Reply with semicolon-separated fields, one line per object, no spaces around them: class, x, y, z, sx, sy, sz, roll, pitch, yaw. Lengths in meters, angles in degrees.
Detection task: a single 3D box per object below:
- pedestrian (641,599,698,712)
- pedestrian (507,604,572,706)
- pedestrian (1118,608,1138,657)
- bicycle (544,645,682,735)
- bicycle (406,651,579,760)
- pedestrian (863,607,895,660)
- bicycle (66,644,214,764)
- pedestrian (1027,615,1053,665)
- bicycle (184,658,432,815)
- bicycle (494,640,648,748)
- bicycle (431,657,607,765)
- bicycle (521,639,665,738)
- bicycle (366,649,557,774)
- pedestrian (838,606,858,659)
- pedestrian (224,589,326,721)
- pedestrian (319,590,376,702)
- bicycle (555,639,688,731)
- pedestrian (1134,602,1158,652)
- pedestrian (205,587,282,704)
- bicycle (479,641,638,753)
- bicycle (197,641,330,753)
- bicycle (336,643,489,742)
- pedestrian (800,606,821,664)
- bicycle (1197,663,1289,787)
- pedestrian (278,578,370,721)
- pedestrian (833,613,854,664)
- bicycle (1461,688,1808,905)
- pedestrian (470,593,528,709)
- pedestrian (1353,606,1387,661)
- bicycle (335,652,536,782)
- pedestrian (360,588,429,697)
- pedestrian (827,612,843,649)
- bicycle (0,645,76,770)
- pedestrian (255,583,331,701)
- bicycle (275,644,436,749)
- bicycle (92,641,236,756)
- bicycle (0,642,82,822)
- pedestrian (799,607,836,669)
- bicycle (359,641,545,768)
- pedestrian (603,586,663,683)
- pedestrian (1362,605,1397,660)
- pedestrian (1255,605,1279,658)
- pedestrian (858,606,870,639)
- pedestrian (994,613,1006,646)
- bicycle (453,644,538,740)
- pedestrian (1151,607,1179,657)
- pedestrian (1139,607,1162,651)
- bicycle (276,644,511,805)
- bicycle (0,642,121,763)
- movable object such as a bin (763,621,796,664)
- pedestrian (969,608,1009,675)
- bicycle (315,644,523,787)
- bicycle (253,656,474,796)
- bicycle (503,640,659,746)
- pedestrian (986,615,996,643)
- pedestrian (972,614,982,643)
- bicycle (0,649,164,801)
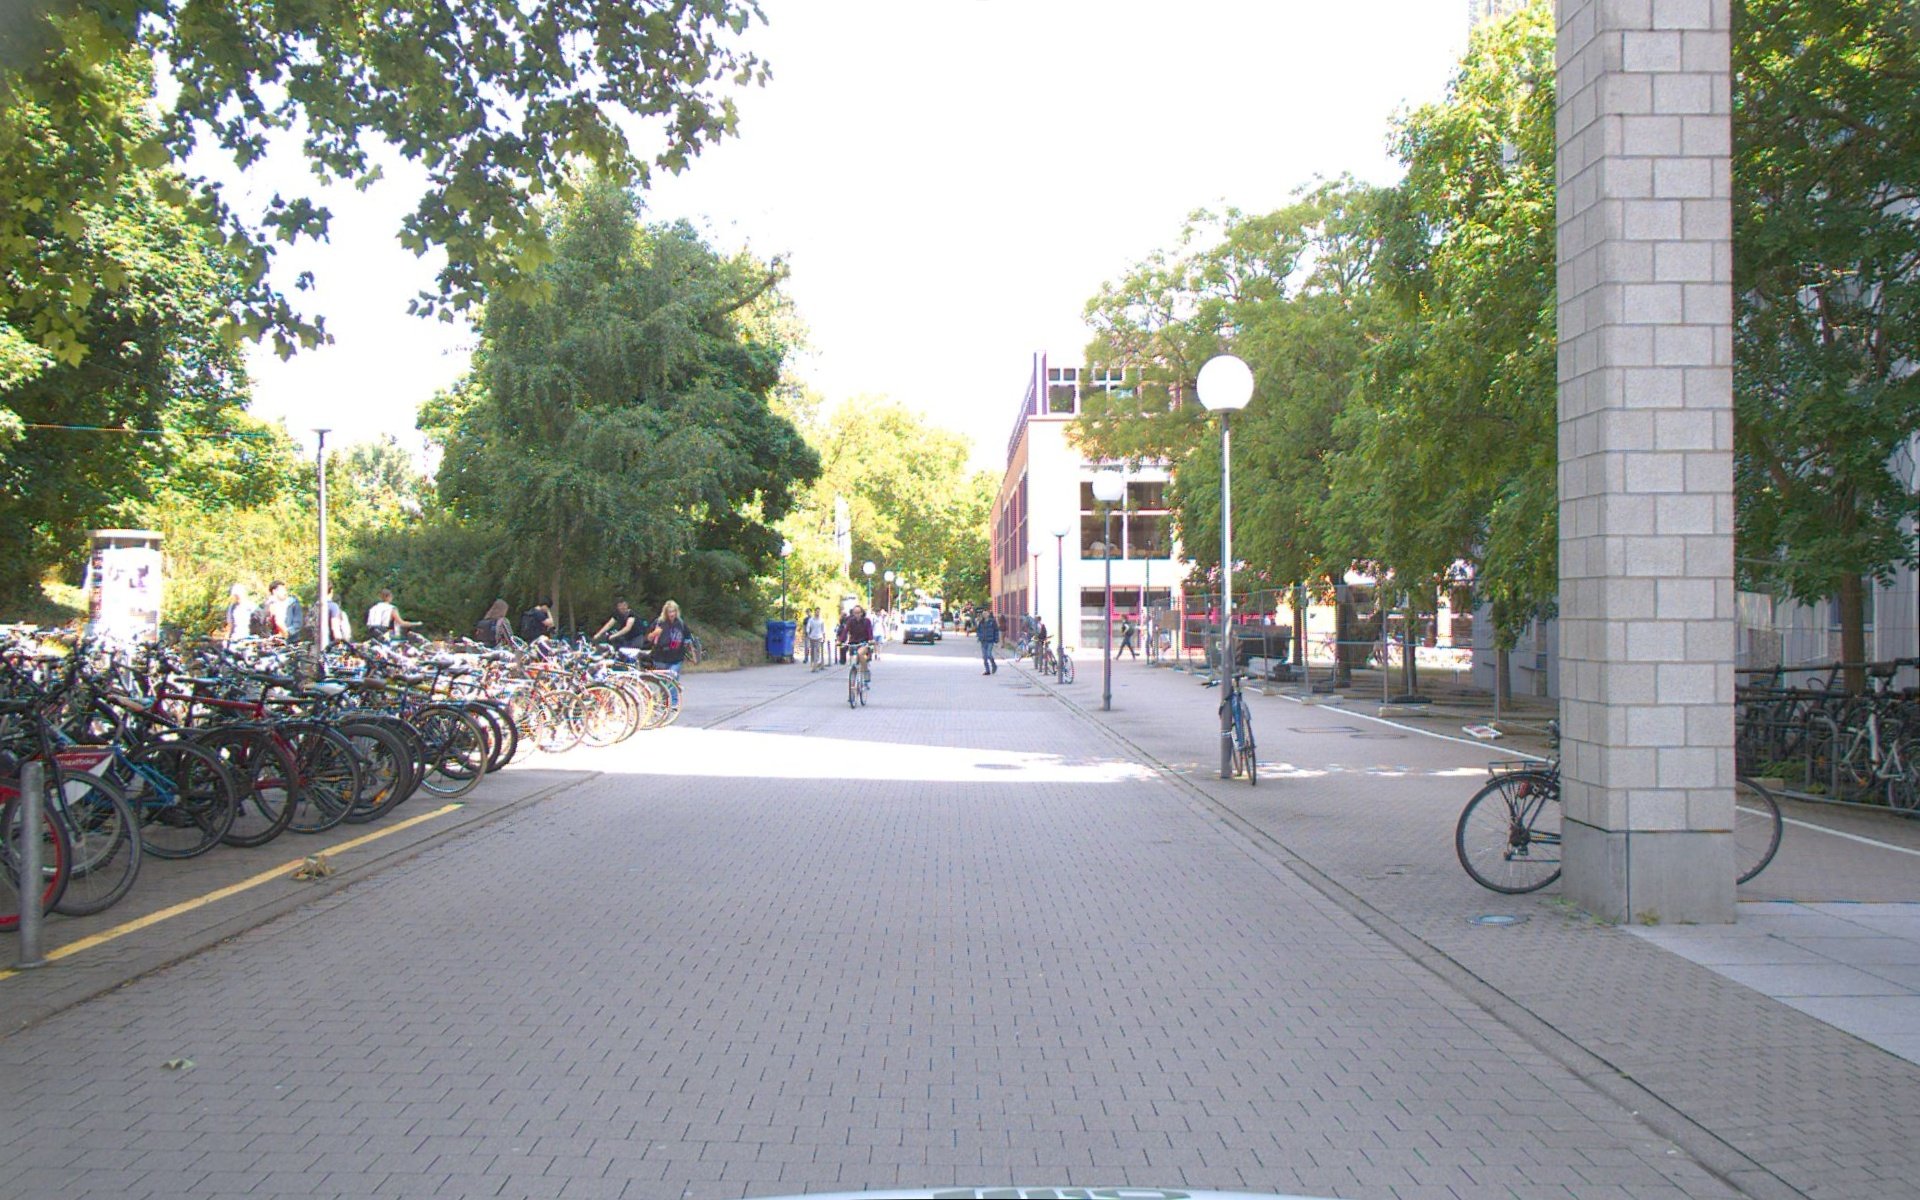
pedestrian;-4.532;0.845;25.781;0.755;1.709;0.903;0;0;-17
pedestrian;-7.403;0.960;29.121;0.670;1.754;0.904;1;-1;22
pedestrian;6.000;1.166;59.052;0.682;1.702;0.588;-1;-2;7
bicycle;-4.409;1.142;21.078;1.662;1.110;0.473;1;-1;-7
bicycle;-4.876;1.081;17.311;1.680;1.080;0.468;1;-1;-36
pedestrian;-2.945;1.237;60.465;0.710;1.914;1.081;0;-2;28
bicycle;-8.093;1.002;16.305;1.663;1.102;0.473;0;-1;31
pedestrian;2.729;1.372;56.489;0.834;1.680;0.588;0;-1;7
bicycle;-4.878;1.010;12.453;1.664;1.127;0.473;1;-1;-12
bicycle;-4.395;1.059;18.756;1.665;1.189;0.472;1;-1;-14
bicycle;-4.507;1.115;16.964;1.680;1.036;0.468;1;-1;-36
bicycle;-4.491;1.079;20.317;1.662;1.189;0.473;1;-1;-7
bicycle;-4.721;1.038;15.697;1.674;1.127;0.470;1;-1;-28
pedestrian;-4.076;1.182;60.180;0.668;1.876;0.783;1;-1;-1
pedestrian;-9.339;0.728;22.569;0.704;1.754;1.062;0;0;32
pedestrian;-9.851;0.723;26.581;0.679;1.754;0.722;-1;0;-37
bicycle;-4.390;1.101;21.548;1.663;1.179;0.473;1;-1;-10
pedestrian;7.097;1.033;63.237;0.809;1.876;0.684;1;-1;-3
pedestrian;-11.482;0.725;26.528;0.751;1.835;0.984;0;0;2
bicycle;-4.417;1.056;18.213;1.667;1.189;0.472;1;-1;-18
bicycle;-7.379;1.002;17.502;1.665;1.102;0.472;0;-1;35
bicycle;-6.371;1.063;19.254;1.658;1.102;0.474;0;-1;12
pedestrian;-5.017;1.181;55.396;0.669;1.906;1.120;1;-1;-5
bicycle;2.698;1.165;15.925;0.526;1.057;1.858;-1;-1;-1
pedestrian;-8.511;0.641;22.152;0.672;1.867;0.938;0;0;33
pedestrian;-3.811;1.241;53.909;0.558;1.639;0.916;1;-1;-11
bicycle;3.597;1.030;8.849;1.705;1.057;0.449;-1;1;-6
pedestrian;-7.095;0.776;25.498;0.670;1.754;0.731;1;-1;-3
pedestrian;13.504;1.107;54.424;0.884;1.759;0.684;0;-3;-5
bicycle;-4.713;1.044;14.966;1.664;1.127;0.581;1;-1;-12
pedestrian;-9.289;0.682;27.168;0.926;1.754;0.670;-1;0;-33
pedestrian;-5.589;1.353;73.798;0.669;1.649;0.977;1;-1;-5
bicycle;-9.068;0.996;15.714;1.665;1.102;0.472;0;-1;35
pedestrian;-10.673;0.668;26.493;0.815;1.847;0.883;0;0;2
bicycle;-6.642;1.045;18.177;1.658;1.102;0.474;0;-1;13
bicycle;-8.150;0.981;16.916;1.663;1.102;0.473;0;-1;31
bicycle;-7.190;0.917;11.657;1.664;1.241;0.501;1;-1;-12
pedestrian;-4.377;1.165;50.782;0.773;1.877;1.109;1;-1;-25
bicycle;-4.934;0.994;16.107;1.674;1.178;0.470;1;-1;-28
pedestrian;-6.401;0.669;32.421;0.601;1.867;1.047;0;-1;33
pedestrian;13.622;1.052;53.732;0.884;1.759;0.684;0;-3;-5
pedestrian;10.708;1.093;57.665;0.750;1.826;0.588;-1;-2;7
pedestrian;-5.463;1.267;94.221;0.668;1.876;0.783;1;-1;-1
pedestrian;2.046;1.514;85.456;0.574;1.702;0.699;-1;-2;1
bicycle;-5.701;1.104;20.380;0.496;1.102;1.700;0;-1;3
pedestrian;7.372;1.149;59.462;0.883;1.759;0.685;-1;-3;17
pedestrian;7.211;1.115;62.542;0.765;1.649;0.684;1;-1;-3
bicycle;-4.446;0.971;13.060;1.663;1.219;0.535;1;-1;-9
bicycle;-8.873;0.975;16.159;1.665;1.102;0.472;0;-1;35
movable object such as a bin;-5.949;1.400;54.595;0.694;1.360;1.240;2;0;9
pedestrian;0.845;1.174;47.651;0.867;1.890;1.033;1;-1;16
bicycle;-4.699;0.993;14.438;1.664;1.208;0.473;1;-1;-12
bicycle;-4.976;1.040;13.881;1.664;1.127;0.564;1;-1;-12
bicycle;-4.459;1.078;19.465;1.737;1.189;0.474;0;-1;12
pedestrian;1.877;1.759;100.224;0.574;1.702;0.817;-1;-2;1
pedestrian;1.036;1.728;98.760;0.574;1.702;0.817;-1;-2;1
bicycle;-7.100;0.950;12.717;1.664;1.127;0.501;1;-1;-12
